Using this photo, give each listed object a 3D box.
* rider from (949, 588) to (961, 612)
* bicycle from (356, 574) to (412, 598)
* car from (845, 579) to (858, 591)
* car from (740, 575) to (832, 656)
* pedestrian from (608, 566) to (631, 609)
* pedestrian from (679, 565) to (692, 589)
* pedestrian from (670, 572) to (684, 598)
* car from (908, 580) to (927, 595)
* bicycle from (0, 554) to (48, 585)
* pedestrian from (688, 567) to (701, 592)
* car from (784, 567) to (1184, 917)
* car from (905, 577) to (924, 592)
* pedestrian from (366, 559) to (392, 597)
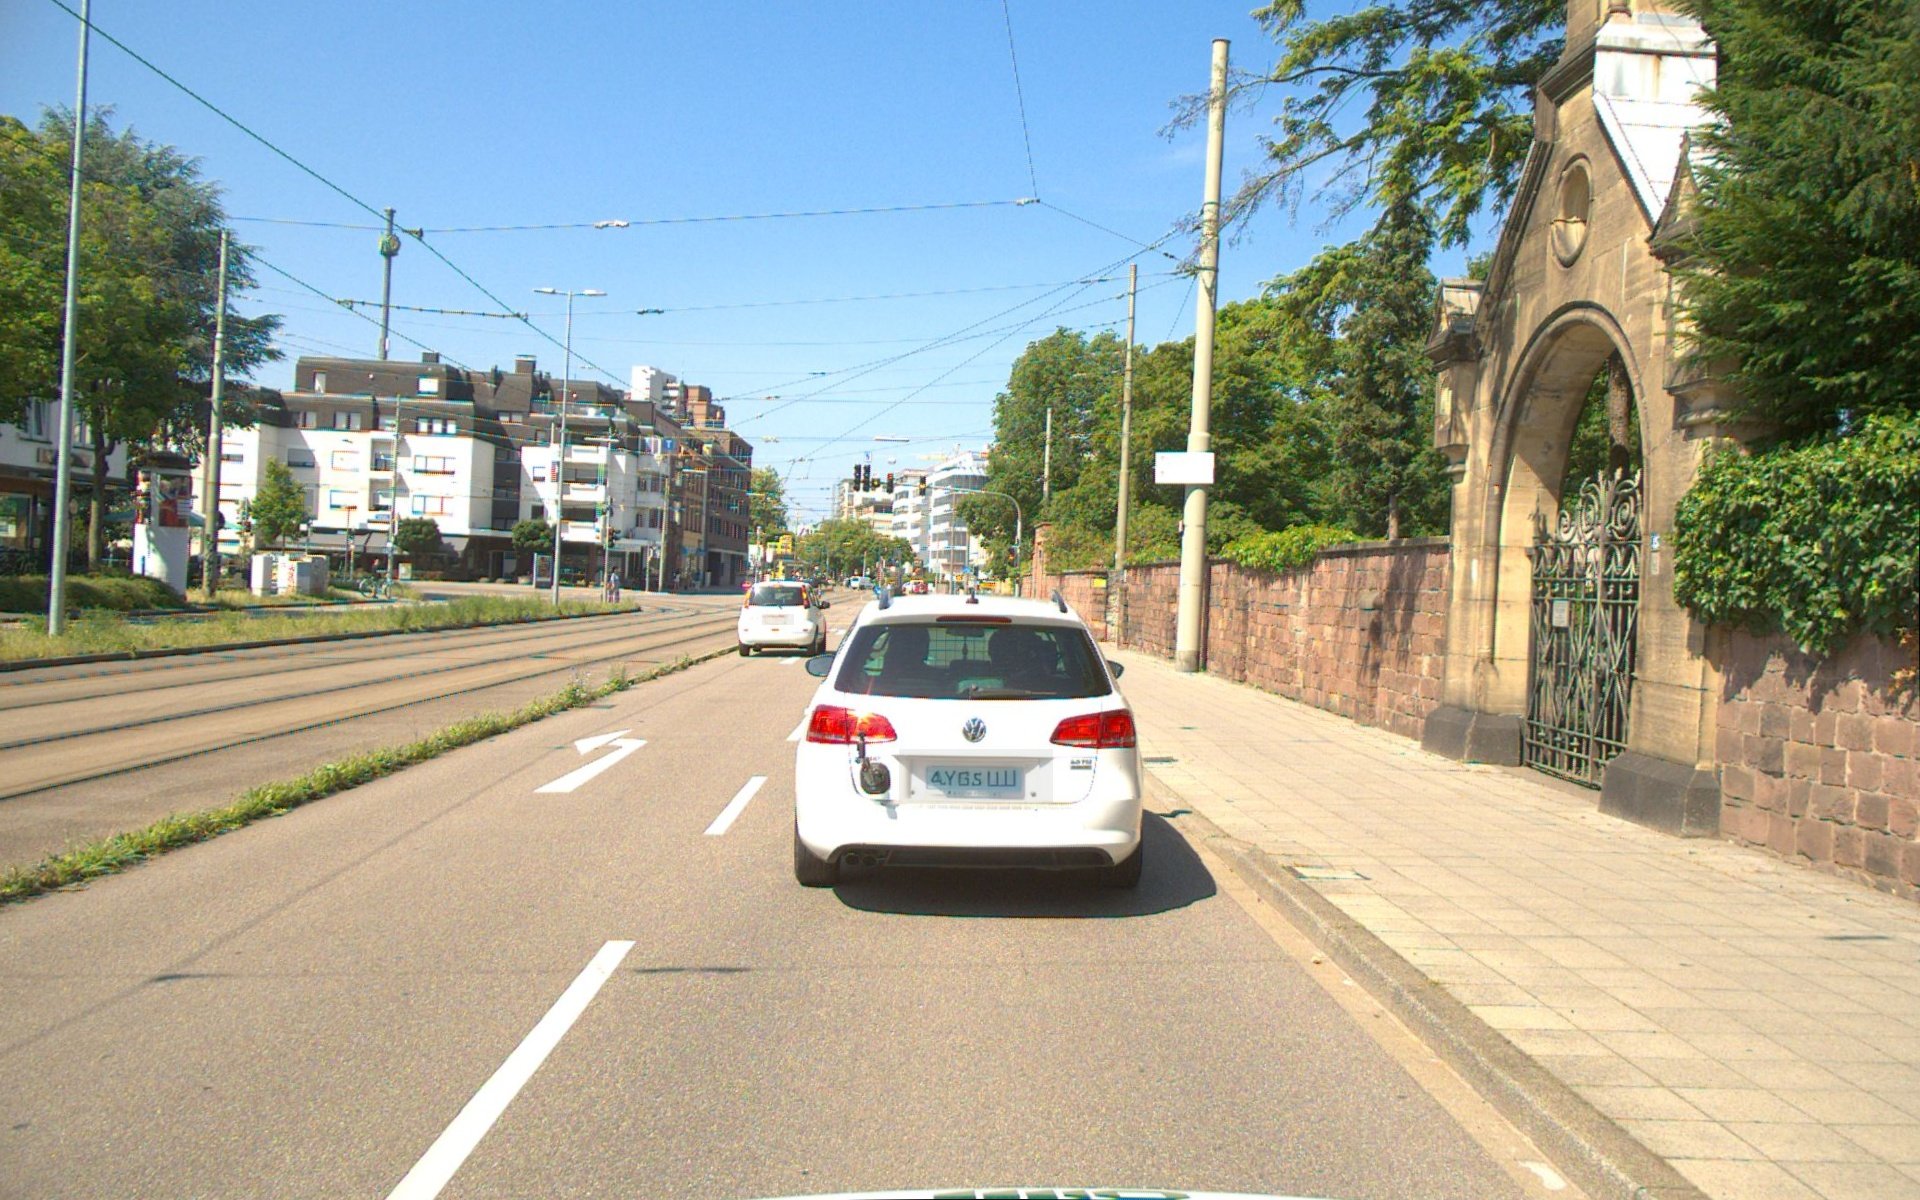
[{"bbox_3d":[-0.376,-0.041,124.576,0.873,1.758,2.203,2,0,-1],"label":"rider"},{"bbox_3d":[-23.431,-0.567,67.316,0.543,0.937,2.164,2,0,42],"label":"bicycle"},{"bbox_3d":[-14.463,-2.003,220.695,1.664,1.619,3.533,2,1,-2],"label":"car"},{"bbox_3d":[-3.745,0.311,36.169,1.695,1.624,4.009,2,0,-2],"label":"car"},{"bbox_3d":[-14.299,-0.510,69.465,0.811,1.769,0.930,2,0,-9],"label":"pedestrian"},{"bbox_3d":[-23.578,-1.968,141.943,0.918,2.049,0.989,2,0,-6],"label":"pedestrian"},{"bbox_3d":[-22.786,-1.195,133.383,0.918,2.049,0.989,3,0,-5],"label":"pedestrian"},{"bbox_3d":[-6.389,-1.874,247.221,1.960,2.049,3.984,2,0,-15],"label":"car"},{"bbox_3d":[-28.425,-0.928,49.642,0.767,0.904,2.390,2,0,-1],"label":"bicycle"},{"bbox_3d":[-22.293,-1.720,138.902,0.919,2.049,0.989,2,0,-7],"label":"pedestrian"},{"bbox_3d":[0.088,0.604,9.193,1.742,1.516,3.846,1,1,-1],"label":"car"},{"bbox_3d":[-6.348,-2.118,230.103,1.958,1.937,3.989,2,1,-11],"label":"car"},{"bbox_3d":[-23.792,-0.897,67.739,0.556,1.513,0.811,2,0,42],"label":"pedestrian"}]
